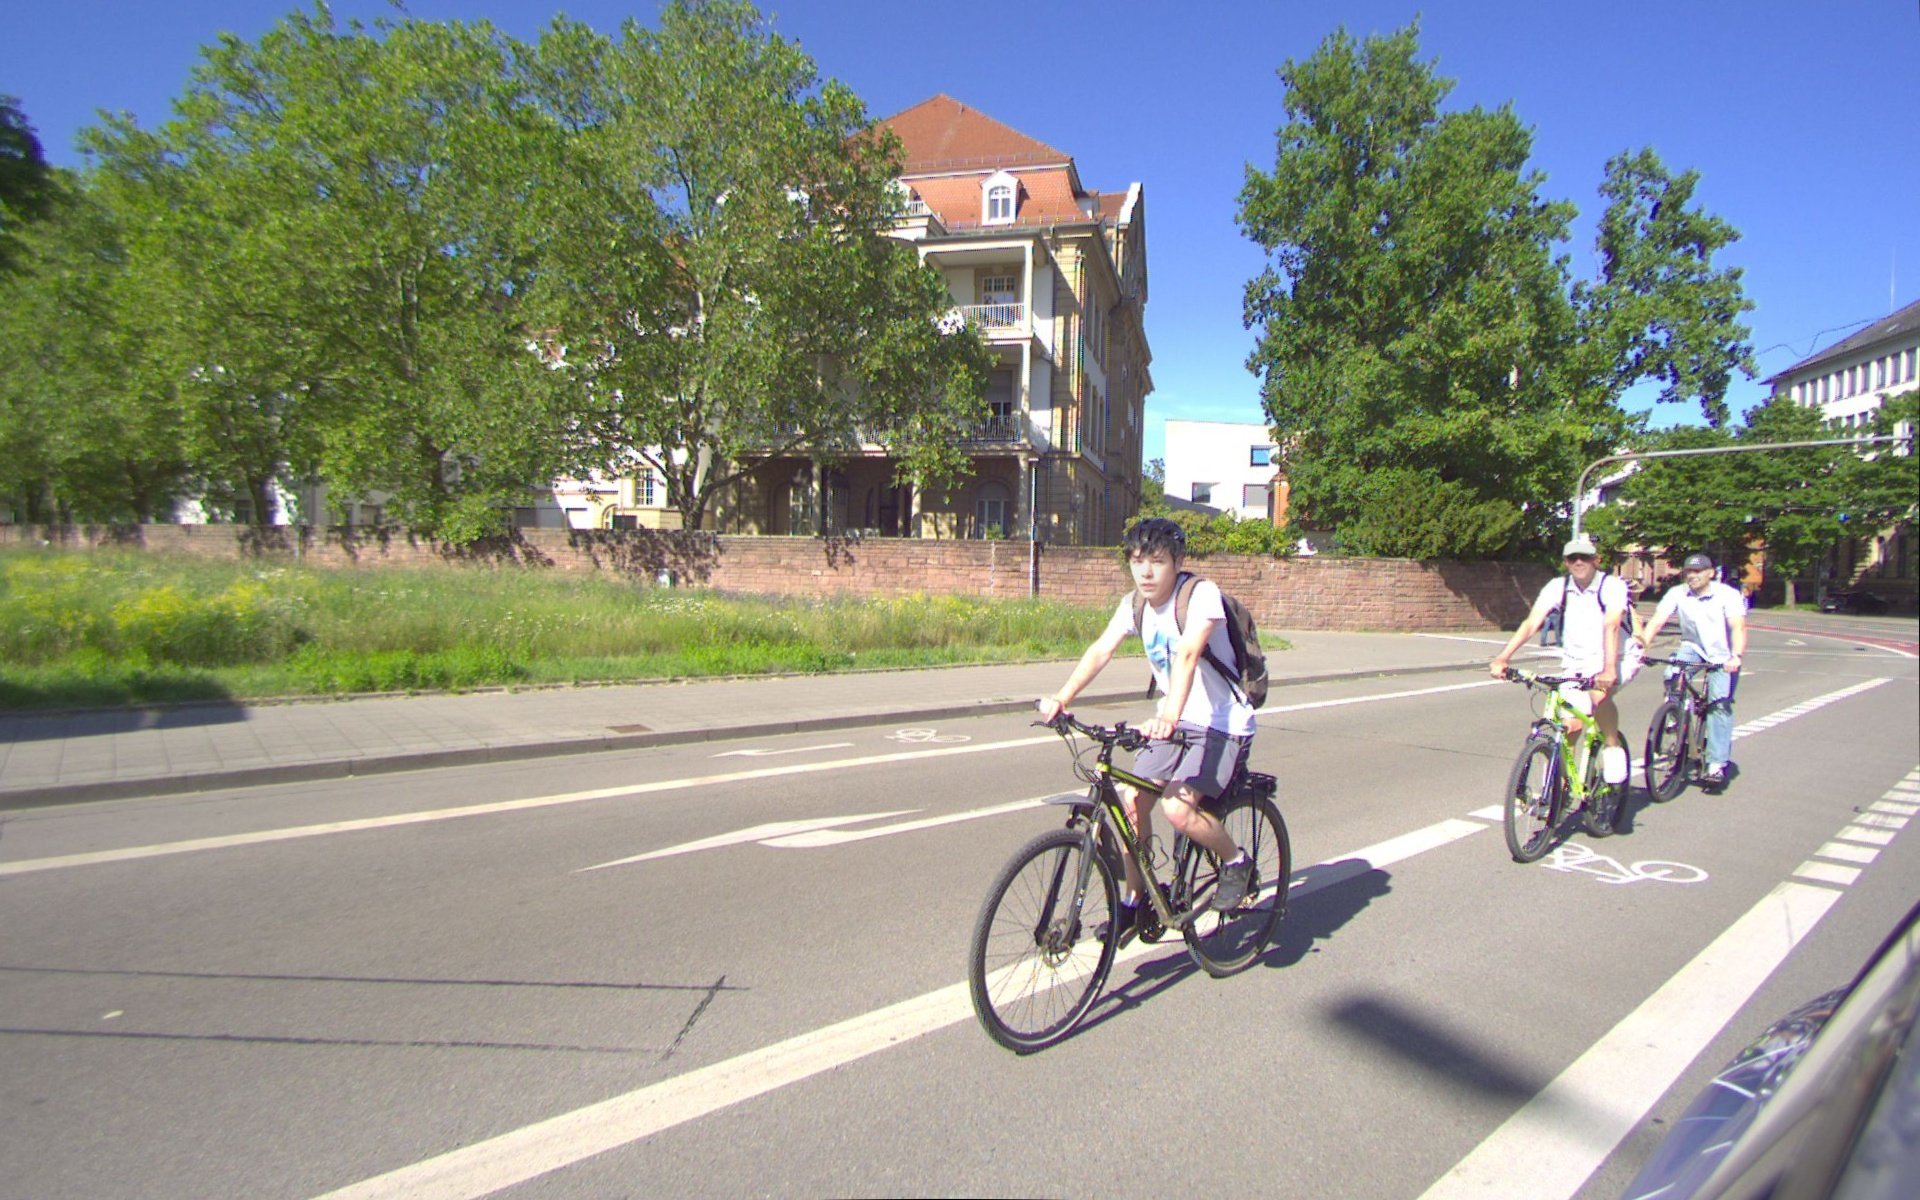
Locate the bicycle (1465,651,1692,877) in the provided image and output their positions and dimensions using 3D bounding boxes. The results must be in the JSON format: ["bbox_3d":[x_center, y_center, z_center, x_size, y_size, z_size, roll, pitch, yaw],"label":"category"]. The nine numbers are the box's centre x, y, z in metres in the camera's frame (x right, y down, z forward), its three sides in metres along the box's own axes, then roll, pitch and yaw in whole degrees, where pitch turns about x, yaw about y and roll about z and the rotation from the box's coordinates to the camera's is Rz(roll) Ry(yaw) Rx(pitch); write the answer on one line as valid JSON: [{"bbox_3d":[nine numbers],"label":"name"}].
[{"bbox_3d":[3.748,0.885,6.066,1.812,1.064,0.672,0,0,-42],"label":"bicycle"}]

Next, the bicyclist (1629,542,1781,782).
[{"bbox_3d":[5.679,0.424,7.715,0.851,1.695,0.741,0,2,-42],"label":"bicyclist"}]

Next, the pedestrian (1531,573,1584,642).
[{"bbox_3d":[16.625,0.203,28.170,0.941,1.872,0.733,1,3,-19],"label":"pedestrian"}]

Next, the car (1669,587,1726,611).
[{"bbox_3d":[52.730,-0.095,72.465,1.822,1.504,4.149,2,2,14],"label":"car"}]

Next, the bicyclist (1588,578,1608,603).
[{"bbox_3d":[41.917,-0.634,66.512,0.860,1.579,1.271,2,2,22],"label":"bicyclist"}]

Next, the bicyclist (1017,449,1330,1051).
[{"bbox_3d":[0.768,0.442,3.602,0.923,1.808,0.677,0,0,-42],"label":"bicyclist"}]

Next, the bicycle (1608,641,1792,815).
[{"bbox_3d":[5.708,0.903,7.762,1.870,1.063,0.749,0,2,-42],"label":"bicycle"}]

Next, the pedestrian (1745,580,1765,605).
[{"bbox_3d":[60.234,-0.575,76.657,0.745,1.835,0.978,1,1,9],"label":"pedestrian"}]

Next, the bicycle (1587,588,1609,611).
[{"bbox_3d":[41.864,-0.035,66.406,0.754,1.385,2.717,2,2,23],"label":"bicycle"}]

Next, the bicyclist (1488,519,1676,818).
[{"bbox_3d":[3.725,0.365,6.050,1.062,1.603,0.675,0,0,-41],"label":"bicyclist"}]

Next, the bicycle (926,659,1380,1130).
[{"bbox_3d":[0.764,0.848,3.573,1.795,1.152,0.616,0,1,-42],"label":"bicycle"}]
